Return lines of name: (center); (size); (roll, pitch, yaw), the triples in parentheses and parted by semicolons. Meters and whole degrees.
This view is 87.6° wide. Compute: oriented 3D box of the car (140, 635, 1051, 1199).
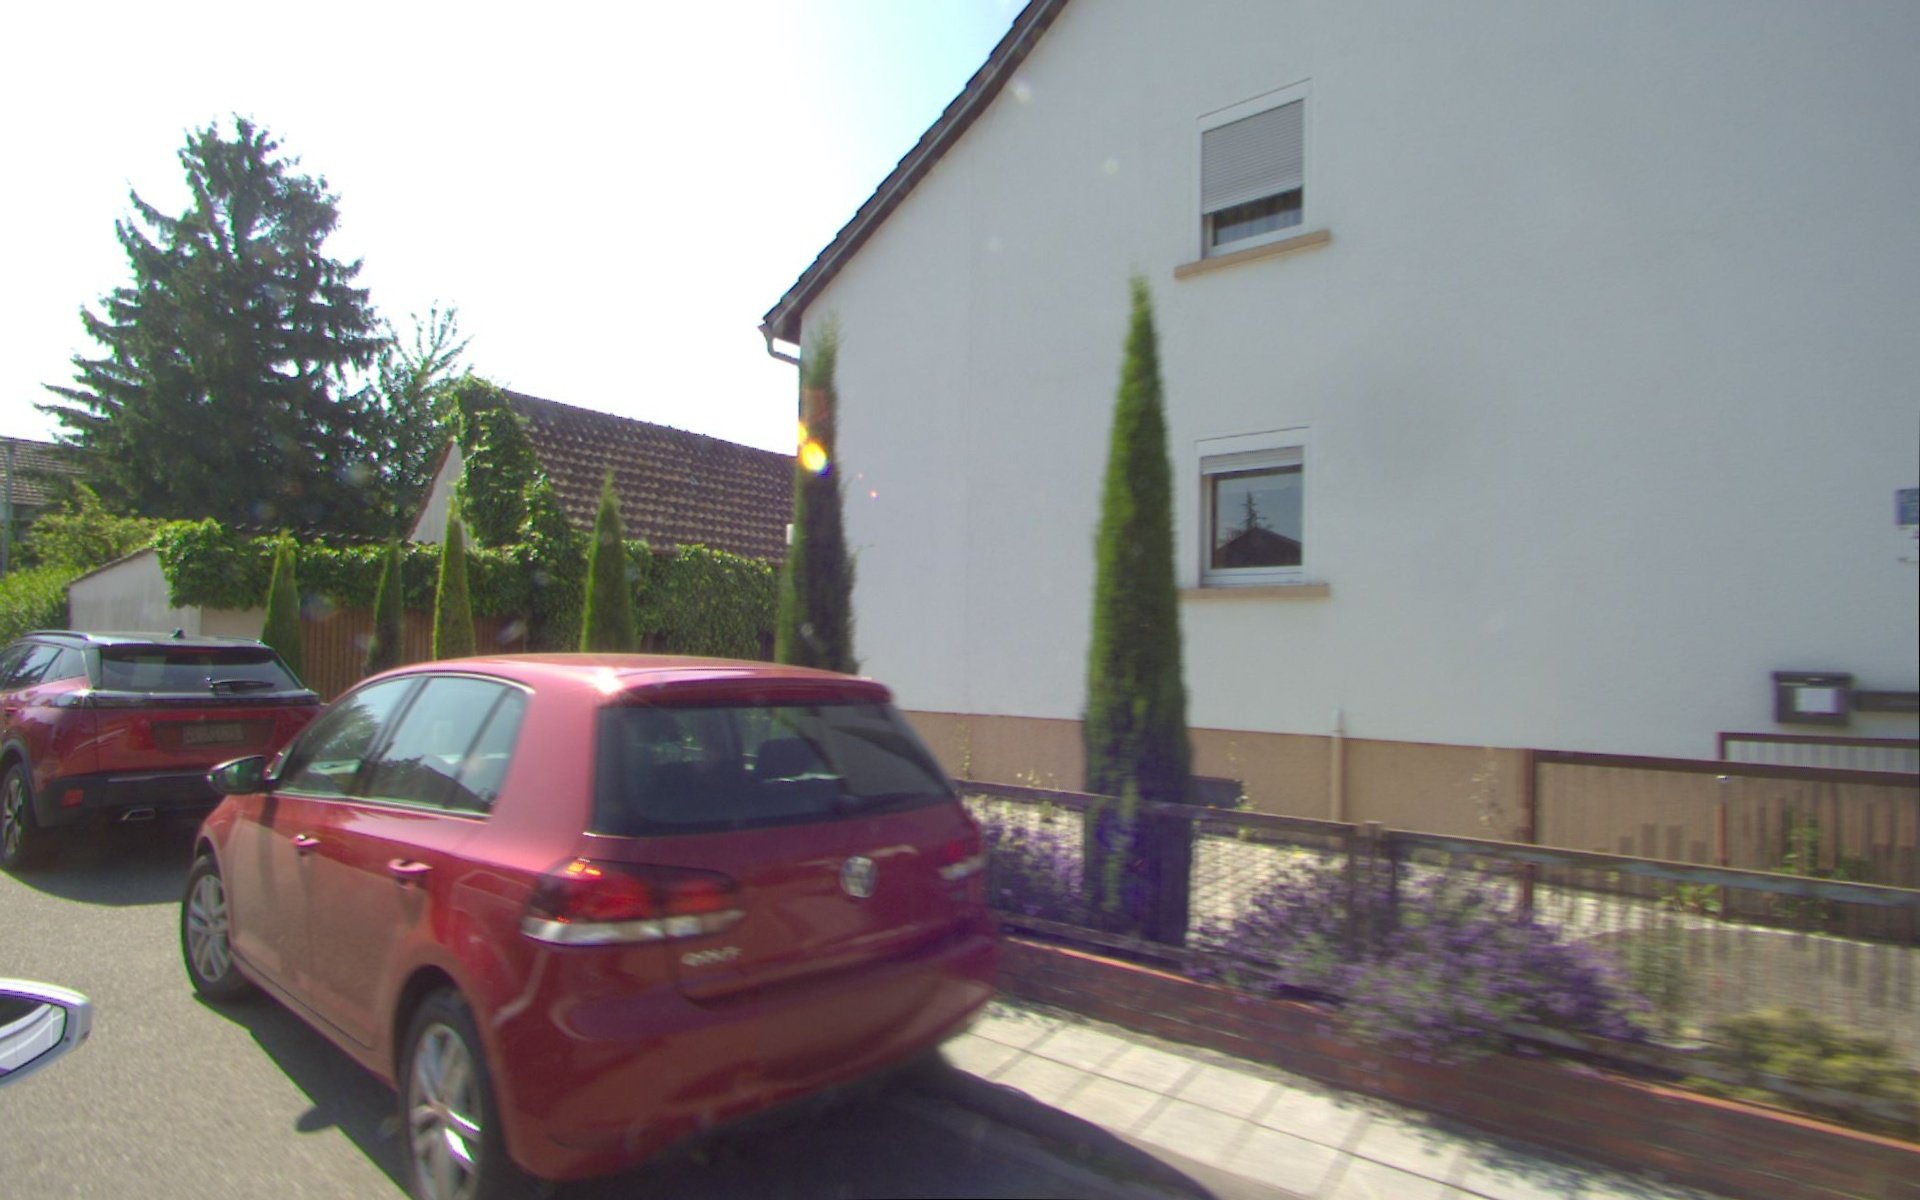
car: (-1.761, 0.947, 4.070); (3.956, 1.496, 1.769); (-2, -6, 42)

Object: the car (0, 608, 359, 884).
car: (-6.632, 0.961, 7.858); (3.947, 1.635, 1.819); (-1, -5, 36)
